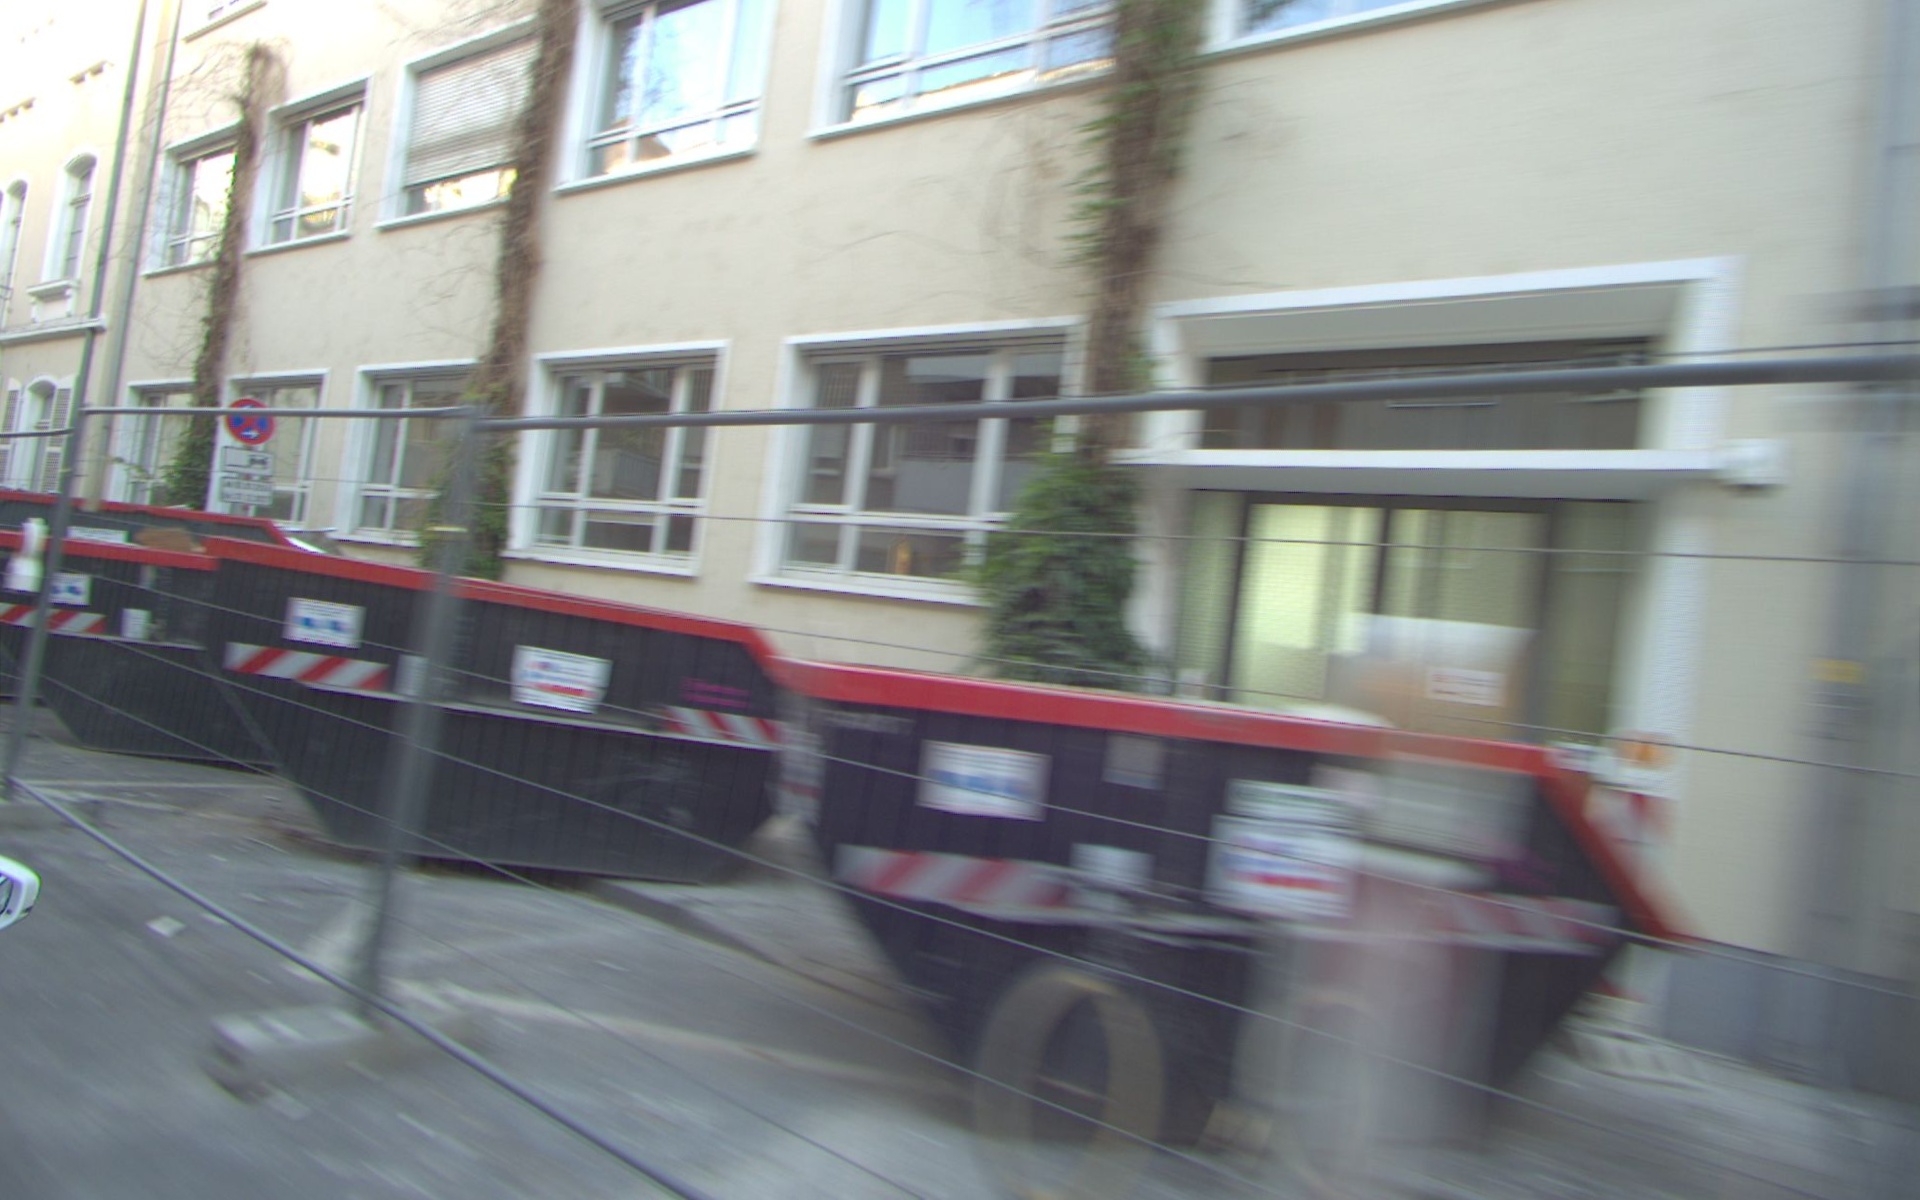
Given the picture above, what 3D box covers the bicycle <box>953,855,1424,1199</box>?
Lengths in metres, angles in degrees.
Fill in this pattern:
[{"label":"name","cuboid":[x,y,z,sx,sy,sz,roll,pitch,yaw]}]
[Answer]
[{"label":"bicycle","cuboid":[0.762,1.310,3.123,1.477,0.907,0.394,10,-3,-31]}]
